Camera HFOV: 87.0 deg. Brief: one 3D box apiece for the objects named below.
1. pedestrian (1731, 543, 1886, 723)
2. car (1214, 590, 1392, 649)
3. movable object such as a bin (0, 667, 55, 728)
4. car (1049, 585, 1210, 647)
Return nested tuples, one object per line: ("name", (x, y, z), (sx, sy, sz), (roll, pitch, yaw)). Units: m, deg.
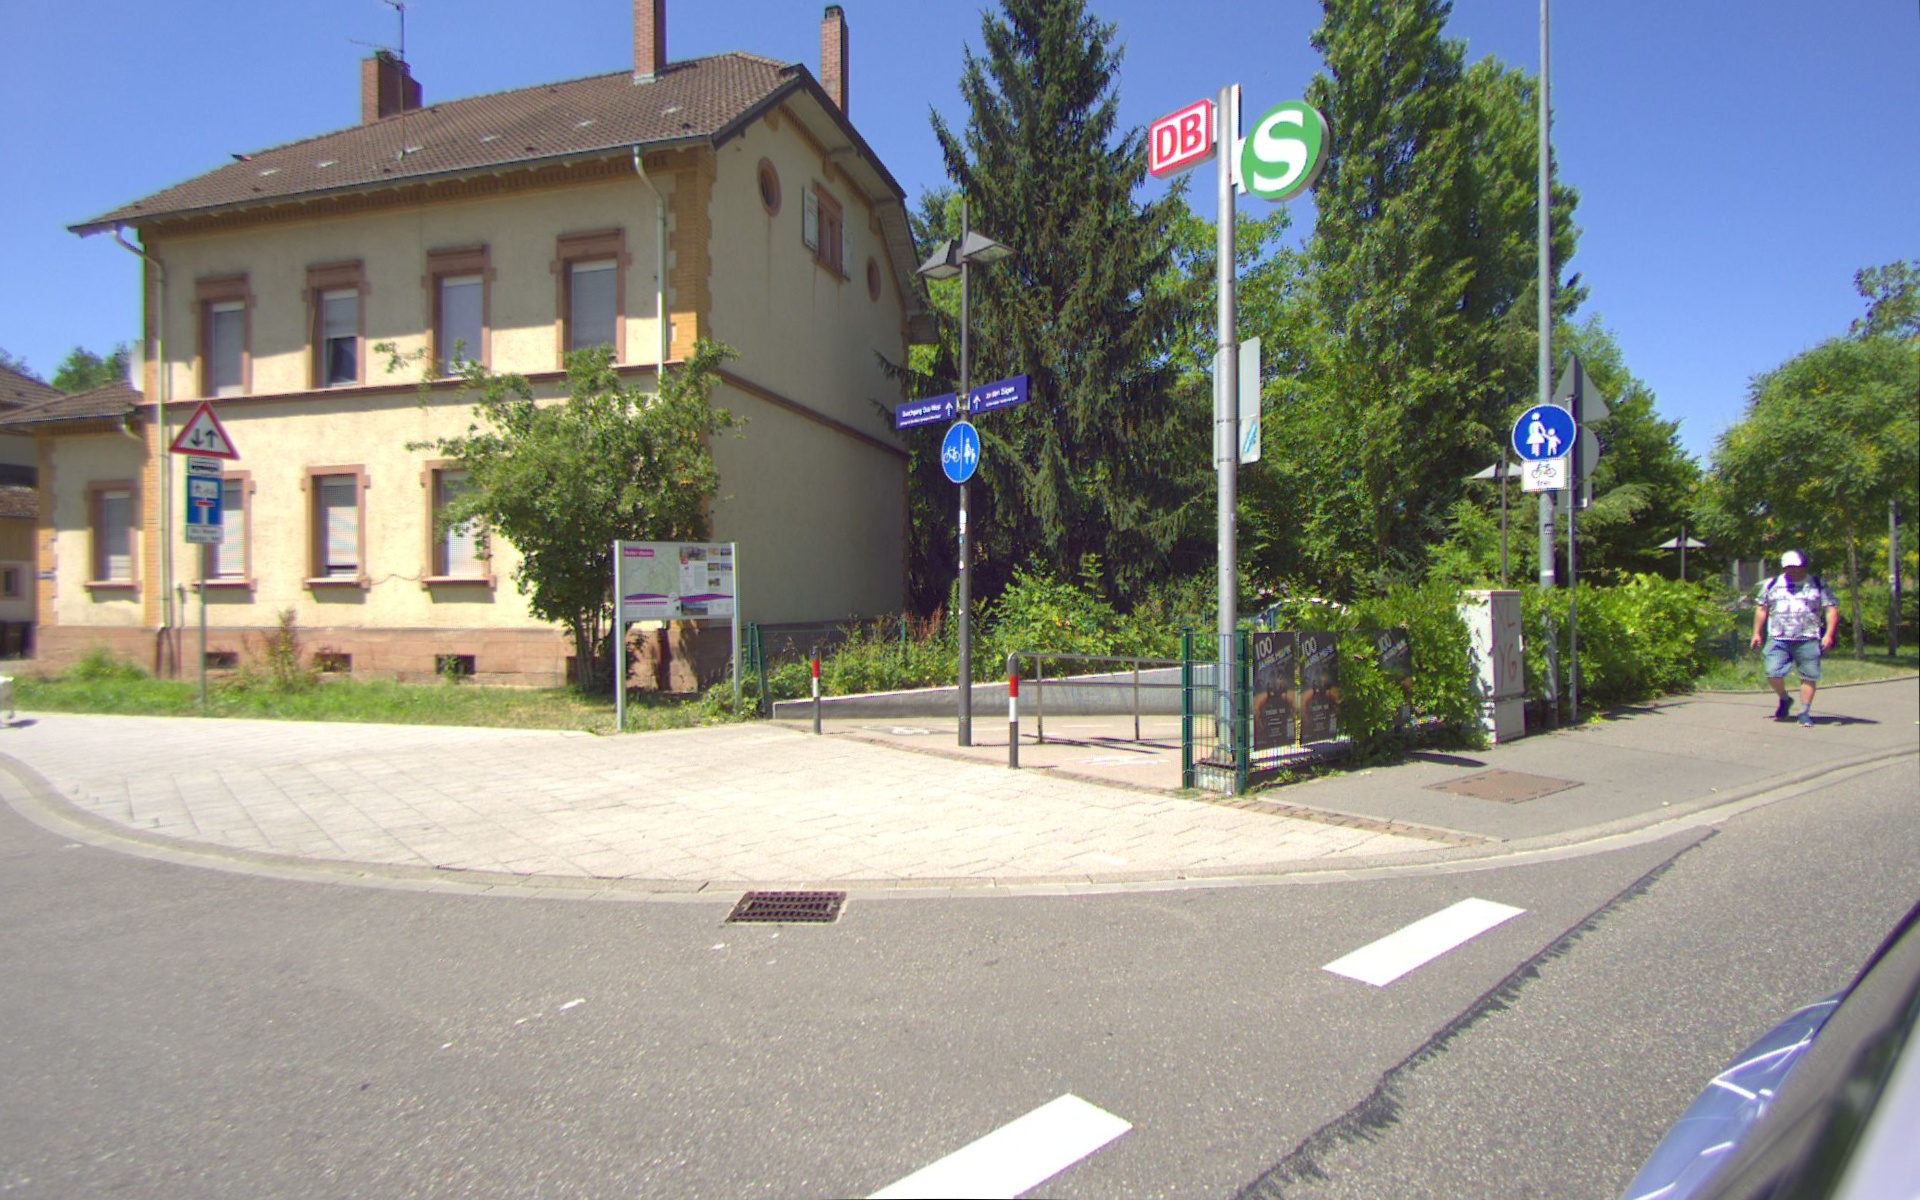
("pedestrian", (8.965, 0.311, 10.712), (0.896, 1.794, 0.917), (0, 2, -24))
("car", (9.271, 0.513, 27.648), (4.438, 1.518, 1.761), (-1, 0, 17))
("movable object such as a bin", (-11.187, 1.130, 11.805), (0.506, 0.602, 1.245), (0, 0, -20))
("car", (4.457, 0.412, 26.582), (3.921, 1.555, 1.644), (-1, 0, 21))
